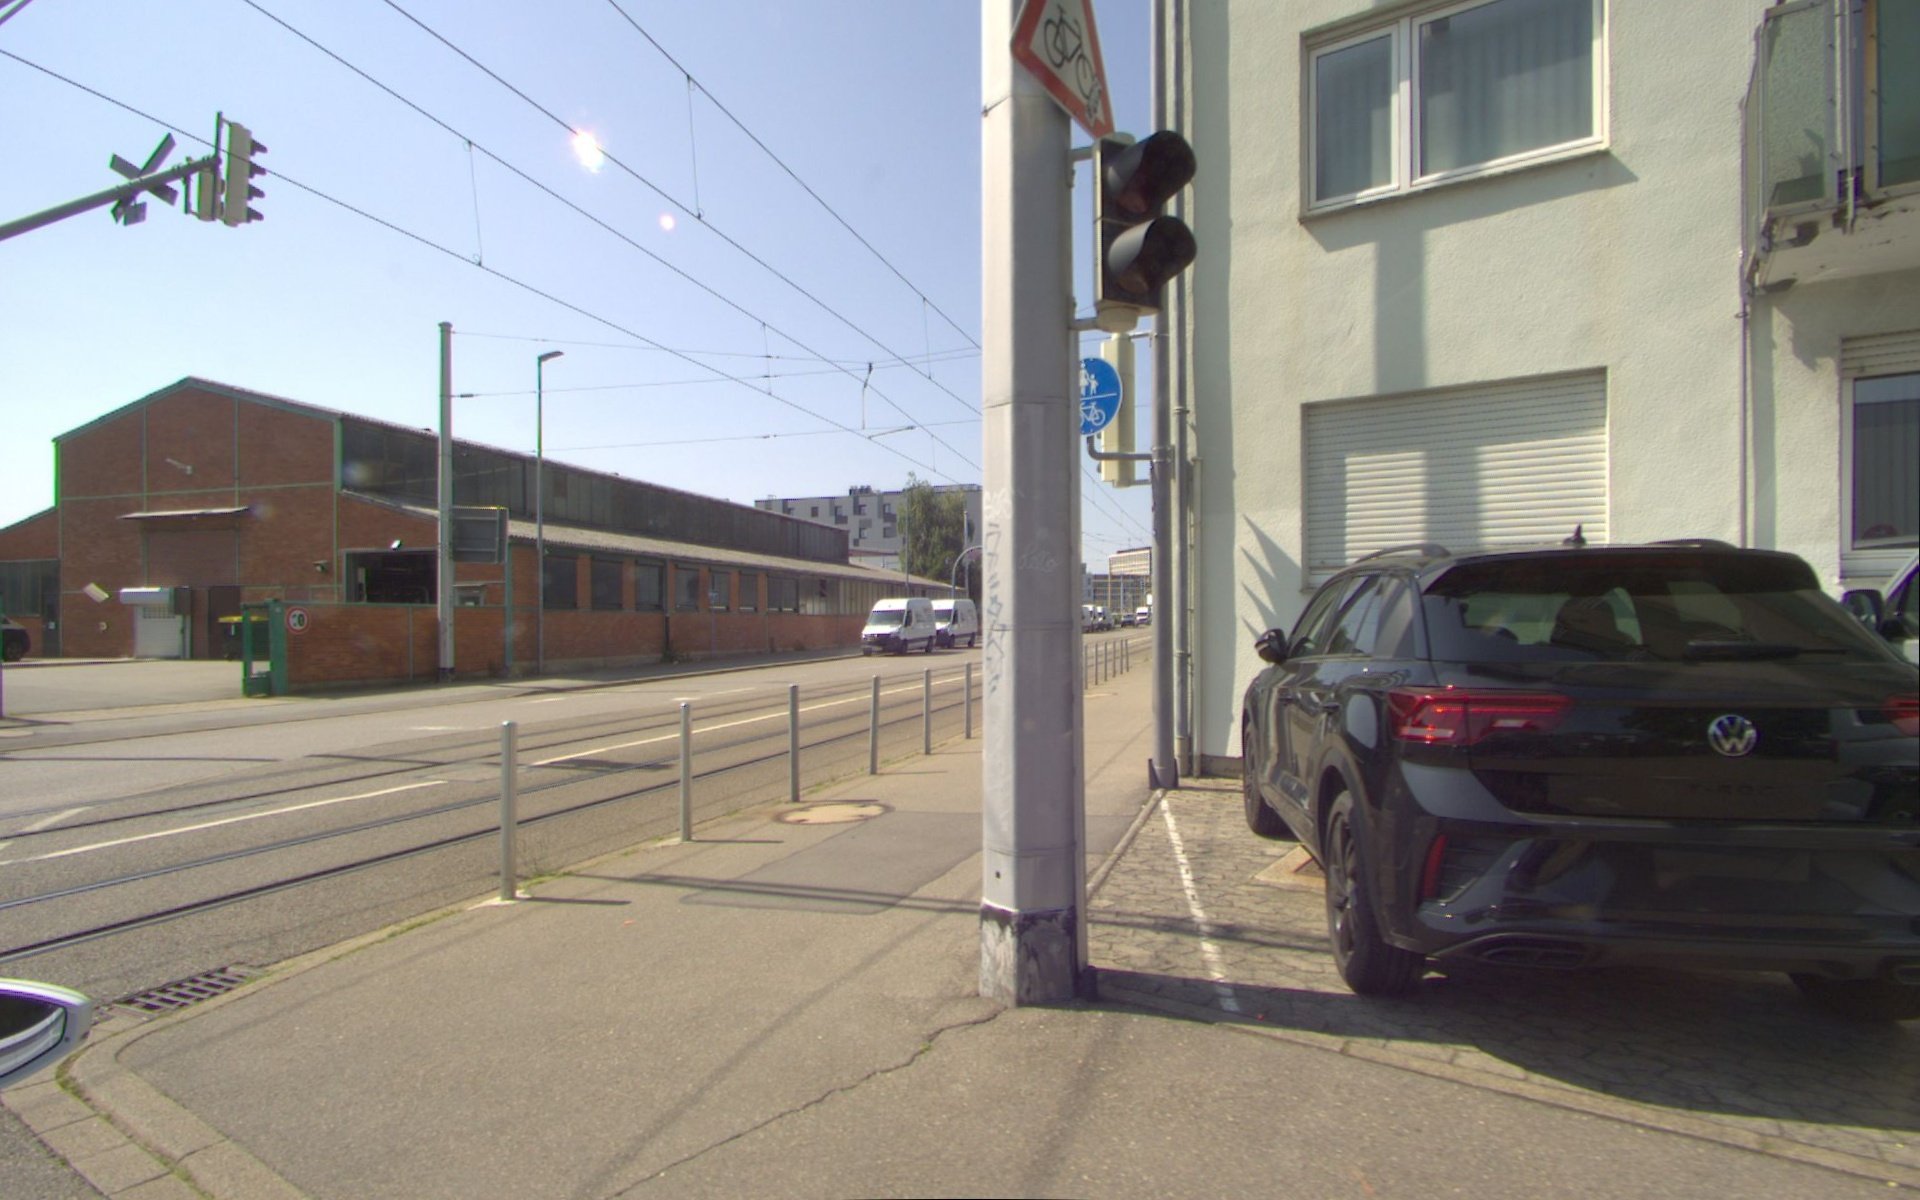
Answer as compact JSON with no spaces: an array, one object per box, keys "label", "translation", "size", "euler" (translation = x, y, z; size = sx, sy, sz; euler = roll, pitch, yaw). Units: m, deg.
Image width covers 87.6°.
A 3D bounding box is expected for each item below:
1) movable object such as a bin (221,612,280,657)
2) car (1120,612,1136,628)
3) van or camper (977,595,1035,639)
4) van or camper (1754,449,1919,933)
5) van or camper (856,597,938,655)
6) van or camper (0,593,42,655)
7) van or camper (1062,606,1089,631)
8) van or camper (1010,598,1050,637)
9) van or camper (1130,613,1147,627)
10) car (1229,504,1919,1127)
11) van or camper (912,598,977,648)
[{"label":"movable object such as a bin","translation":[-21.713,1.050,30.640],"size":[1.131,1.331,0.976],"euler":[0,0,18]},{"label":"car","translation":[22.916,2.726,136.570],"size":[1.794,2.040,3.830],"euler":[-1,-1,16]},{"label":"van or camper","translation":[3.253,1.148,68.483],"size":[2.478,2.822,7.109],"euler":[-1,-1,15]},{"label":"van or camper","translation":[4.532,0.353,2.756],"size":[1.963,1.933,4.551],"euler":[0,0,14]},{"label":"van or camper","translation":[-2.862,1.189,47.027],"size":[2.007,2.567,5.862],"euler":[-1,-1,16]},{"label":"van or camper","translation":[-30.915,0.686,30.417],"size":[1.961,1.923,4.425],"euler":[1,-3,-1]},{"label":"van or camper","translation":[10.738,1.700,92.904],"size":[1.921,2.240,4.905],"euler":[-1,-1,13]},{"label":"van or camper","translation":[5.305,1.343,75.839],"size":[2.137,2.822,4.726],"euler":[0,-1,15]},{"label":"van or camper","translation":[26.832,2.941,150.504],"size":[1.964,2.040,3.994],"euler":[-1,-1,18]},{"label":"car","translation":[2.367,0.573,4.490],"size":[1.844,1.541,3.973],"euler":[-1,-1,9]},{"label":"van or camper","translation":[-0.750,1.235,54.175],"size":[2.007,2.567,5.575],"euler":[0,-1,16]}]
